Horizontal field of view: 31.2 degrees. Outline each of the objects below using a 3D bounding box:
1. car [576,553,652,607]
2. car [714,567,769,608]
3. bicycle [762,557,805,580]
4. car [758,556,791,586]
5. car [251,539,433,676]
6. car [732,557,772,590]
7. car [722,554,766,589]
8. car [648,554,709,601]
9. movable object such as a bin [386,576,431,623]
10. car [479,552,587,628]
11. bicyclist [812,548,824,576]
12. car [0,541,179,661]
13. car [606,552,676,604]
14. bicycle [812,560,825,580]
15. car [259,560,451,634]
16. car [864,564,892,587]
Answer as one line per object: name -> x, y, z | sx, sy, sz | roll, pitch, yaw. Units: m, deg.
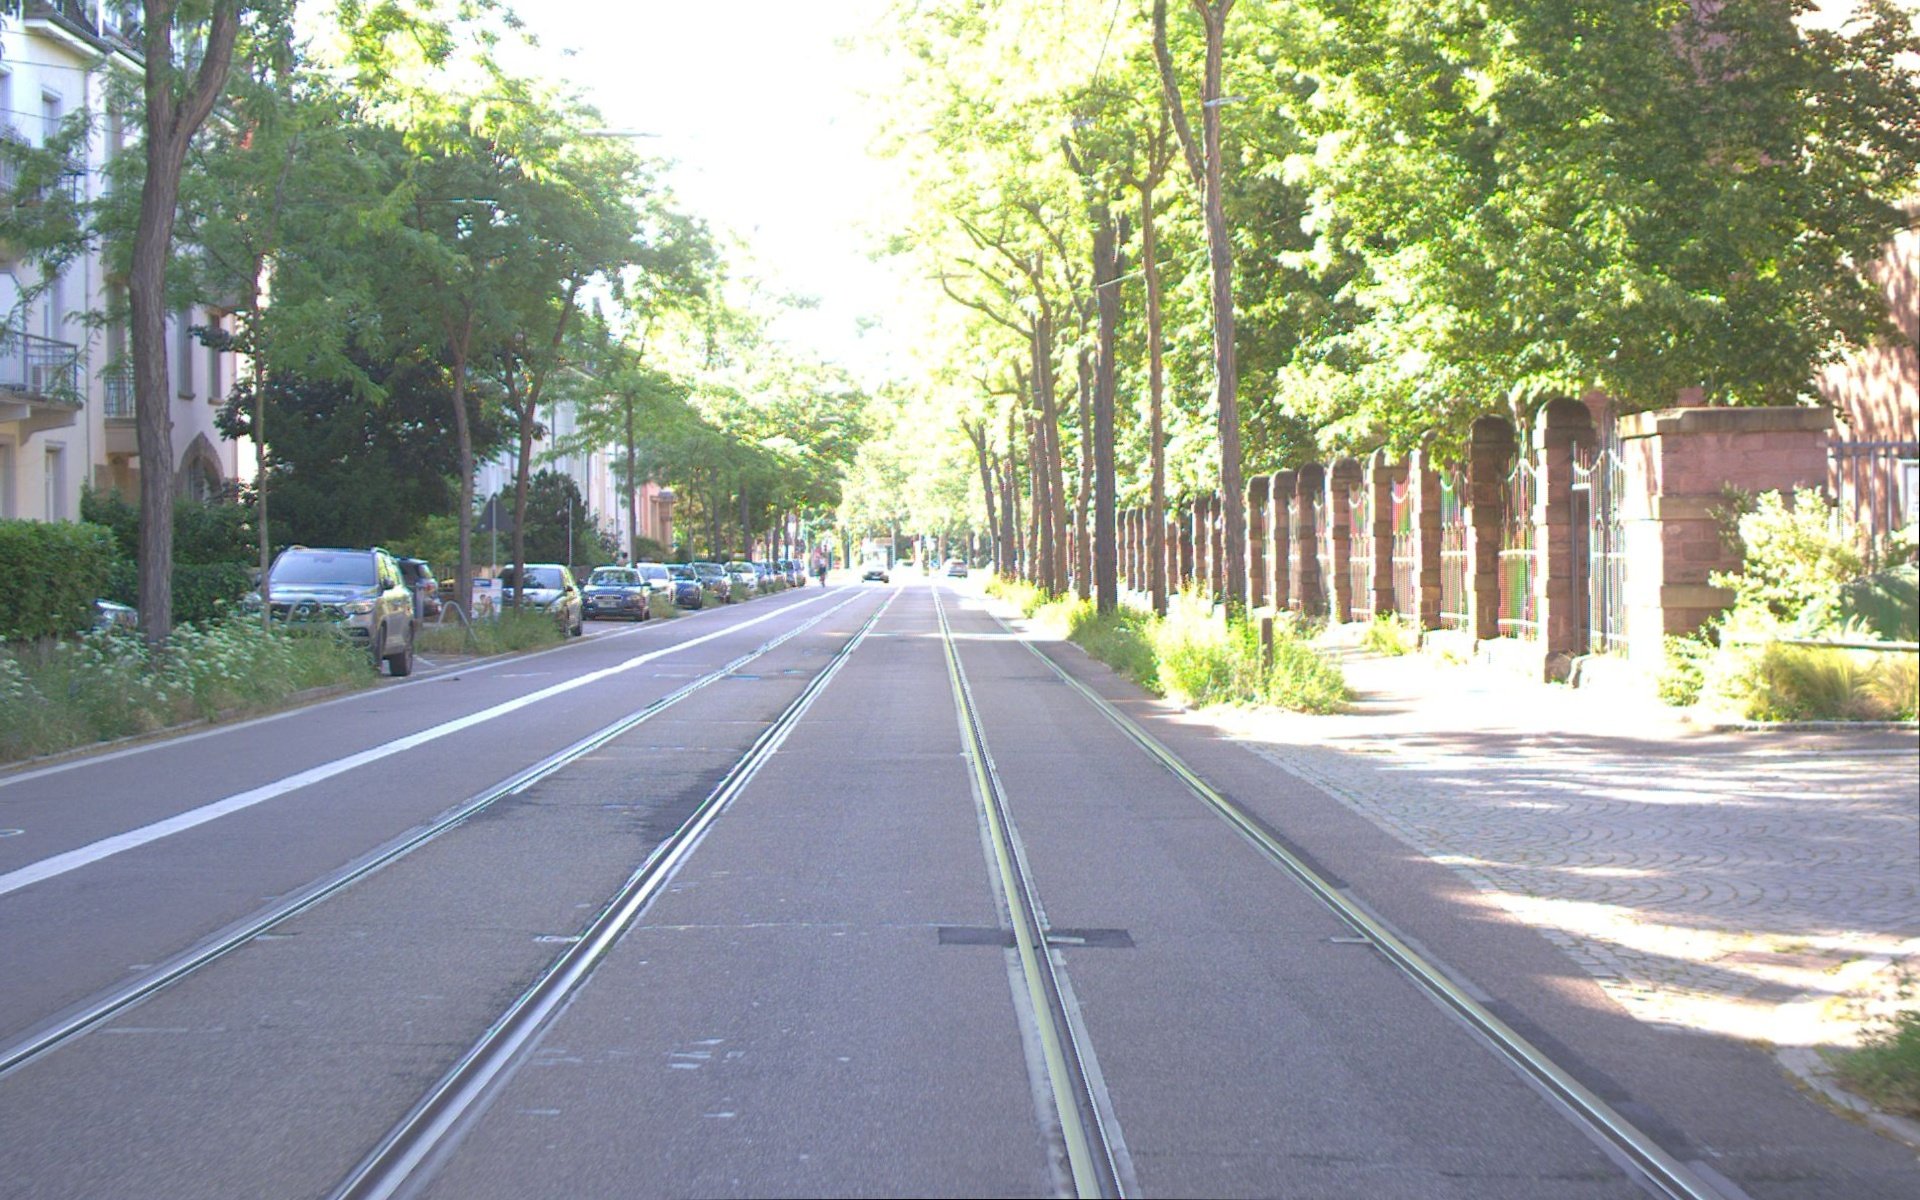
car -> -9.321, -0.560, 92.783 | 1.705, 1.401, 4.334 | 1, 1, -1
car -> -8.112, -0.471, 128.009 | 1.817, 1.480, 4.206 | 1, 1, -1
bicycle -> -9.786, -1.769, 191.117 | 2.285, 1.194, 0.559 | 2, 1, 7
car -> -9.248, -1.450, 171.740 | 1.560, 1.452, 3.931 | 2, 1, -3
car -> -8.613, 0.066, 48.242 | 1.870, 1.816, 4.772 | 1, 1, -2
car -> -9.751, -1.247, 161.581 | 1.687, 1.480, 3.760 | 2, 1, -2
car -> -9.650, -1.278, 153.973 | 1.702, 1.480, 4.079 | 2, 1, -1
car -> -9.378, -0.757, 114.795 | 1.757, 1.506, 4.439 | 1, 1, -2
movable object such as a bin -> -12.464, -0.014, 77.694 | 0.875, 1.062, 0.814 | 0, 1, 0
car -> -9.135, -0.238, 73.912 | 1.776, 1.536, 4.486 | 1, 1, 0
bicyclist -> -8.463, -2.264, 205.339 | 0.626, 1.633, 0.940 | -3, 1, 0
car -> -13.666, -0.024, 49.585 | 4.300, 1.655, 1.953 | 1, 1, 1
car -> -9.691, -0.689, 104.665 | 1.817, 1.506, 4.371 | 1, 1, -2
bicycle -> -8.440, -1.805, 205.414 | 0.626, 1.173, 1.913 | -3, 1, 0
car -> -14.112, -0.078, 80.375 | 4.165, 1.653, 1.983 | 1, 1, -2
car -> -5.217, -1.595, 218.771 | 1.757, 1.434, 4.524 | 0, 1, -2
